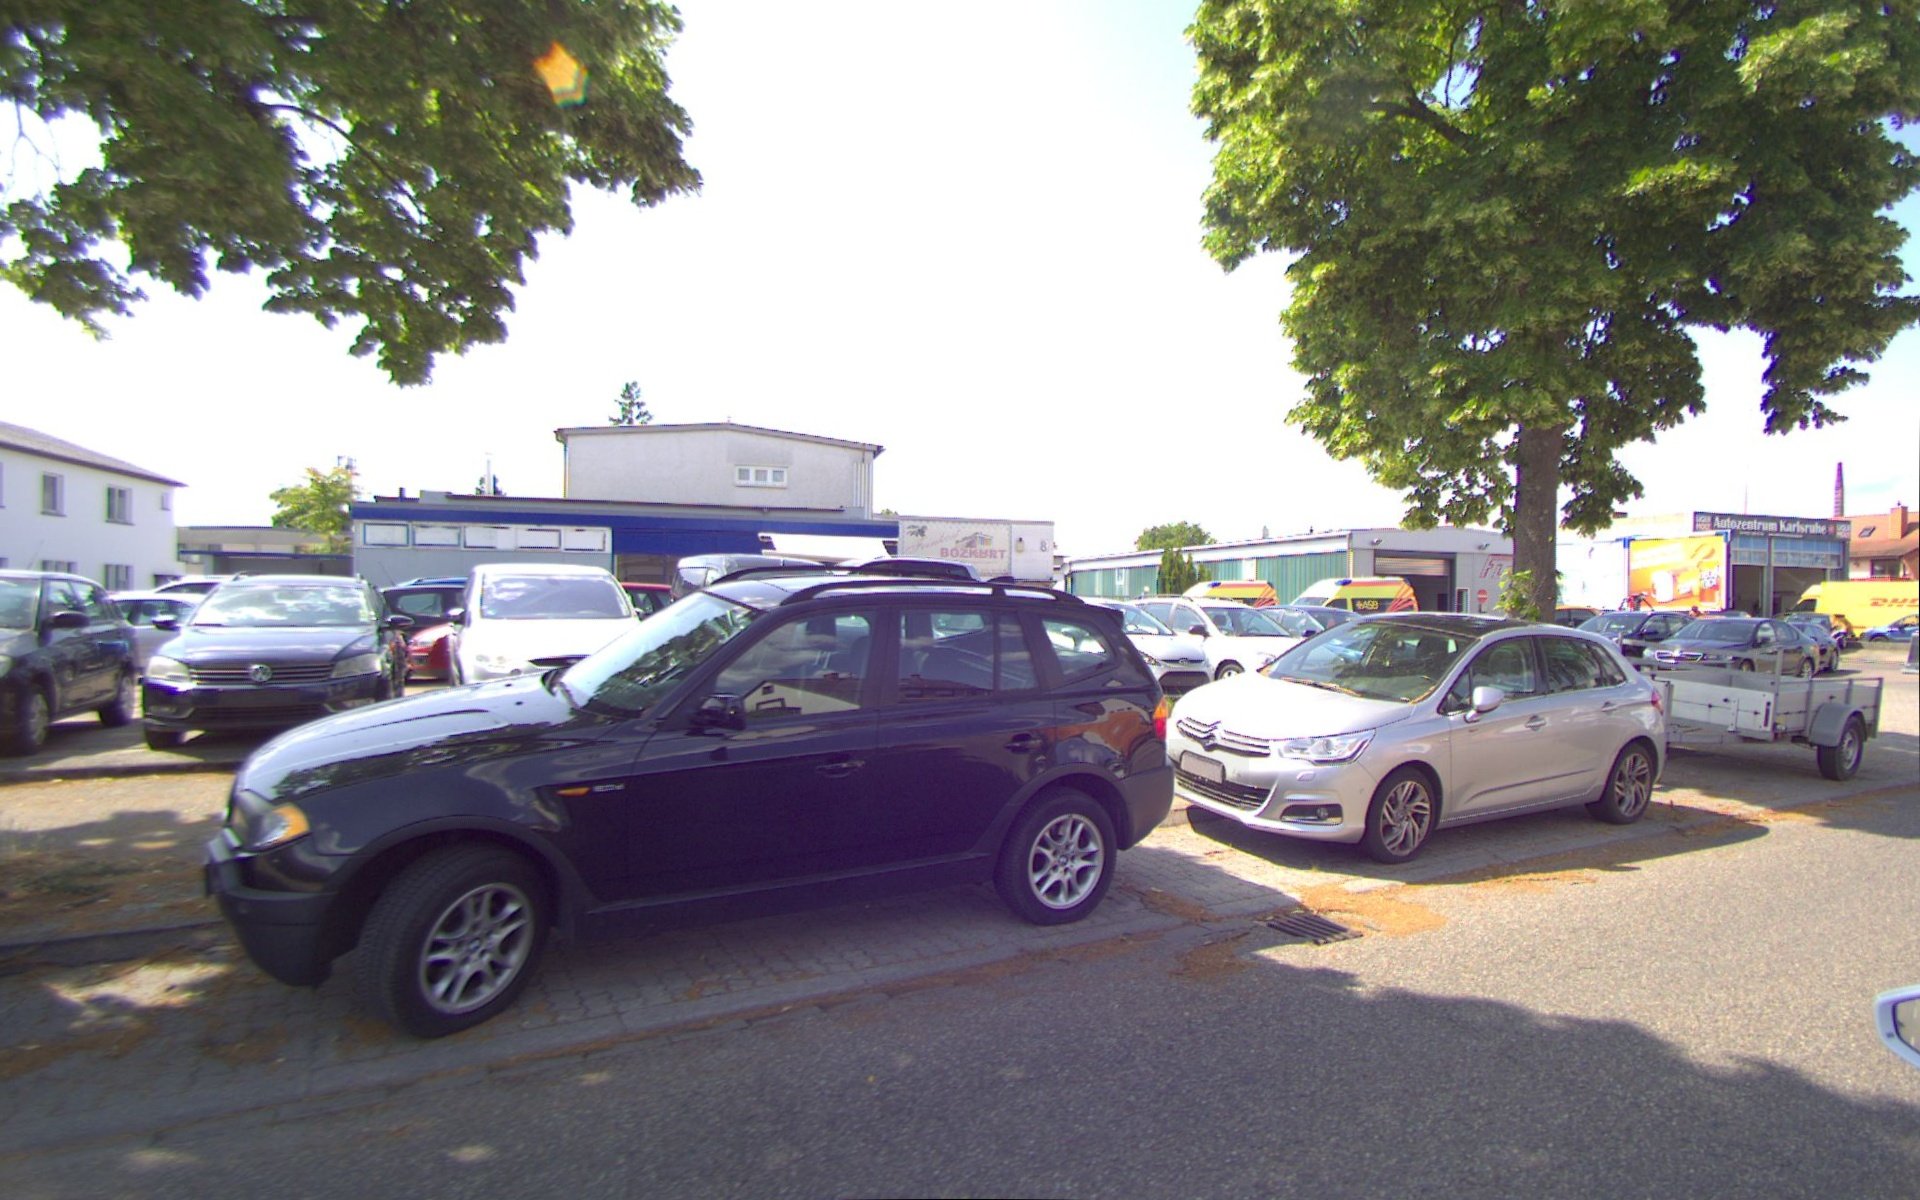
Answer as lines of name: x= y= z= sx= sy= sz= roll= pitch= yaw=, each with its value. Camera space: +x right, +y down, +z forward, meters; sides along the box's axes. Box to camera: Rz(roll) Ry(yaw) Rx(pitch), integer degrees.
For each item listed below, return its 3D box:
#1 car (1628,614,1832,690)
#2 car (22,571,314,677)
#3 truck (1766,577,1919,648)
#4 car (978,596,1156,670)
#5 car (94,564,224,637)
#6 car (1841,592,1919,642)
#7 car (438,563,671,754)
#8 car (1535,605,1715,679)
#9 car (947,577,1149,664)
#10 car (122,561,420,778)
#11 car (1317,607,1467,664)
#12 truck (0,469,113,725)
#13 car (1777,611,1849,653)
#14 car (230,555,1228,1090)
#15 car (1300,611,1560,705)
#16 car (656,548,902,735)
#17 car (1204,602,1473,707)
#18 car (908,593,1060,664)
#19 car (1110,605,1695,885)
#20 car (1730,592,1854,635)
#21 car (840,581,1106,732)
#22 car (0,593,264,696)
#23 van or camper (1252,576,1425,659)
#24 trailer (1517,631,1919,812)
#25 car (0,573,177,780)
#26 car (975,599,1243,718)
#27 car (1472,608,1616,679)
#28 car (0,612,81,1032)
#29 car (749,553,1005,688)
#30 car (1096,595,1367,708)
car: x=16.240 y=1.042 z=21.132 sx=4.528 sy=1.429 sz=1.746 roll=1 pitch=0 yaw=-29
car: x=-14.251 y=0.432 z=18.357 sx=3.868 sy=1.780 sz=1.638 roll=1 pitch=0 yaw=-24
truck: x=39.607 y=0.548 z=43.941 sx=2.487 sy=2.888 sz=6.596 roll=1 pitch=0 yaw=-16
car: x=2.573 y=0.782 z=24.225 sx=3.941 sy=1.659 sz=1.707 roll=1 pitch=0 yaw=-22
car: x=-25.399 y=0.011 z=32.025 sx=1.822 sy=2.129 sz=3.902 roll=2 pitch=0 yaw=-16
car: x=37.664 y=0.683 z=39.654 sx=1.827 sy=1.834 sz=3.923 roll=1 pitch=2 yaw=-19
car: x=-4.571 y=0.510 z=10.914 sx=1.805 sy=1.636 sz=4.274 roll=0 pitch=0 yaw=-30
car: x=15.452 y=0.933 z=23.313 sx=4.205 sy=1.554 sz=1.746 roll=1 pitch=0 yaw=-29
car: x=1.862 y=0.437 z=21.313 sx=3.941 sy=1.718 sz=1.707 roll=1 pitch=0 yaw=-22
car: x=-6.404 y=0.561 z=9.867 sx=1.803 sy=1.603 sz=4.509 roll=0 pitch=-1 yaw=-27
car: x=12.856 y=1.034 z=29.864 sx=4.105 sy=1.554 sz=1.749 roll=1 pitch=1 yaw=-24
truck: x=-11.603 y=-0.054 z=9.784 sx=2.683 sy=2.894 sz=9.232 roll=0 pitch=-1 yaw=-24
car: x=32.693 y=1.187 z=38.468 sx=3.978 sy=1.305 sz=1.654 roll=-4 pitch=3 yaw=-43
car: x=-0.871 y=0.715 z=5.051 sx=4.348 sy=1.723 sz=1.685 roll=1 pitch=2 yaw=-30
car: x=8.243 y=0.945 z=18.022 sx=1.802 sy=1.392 sz=4.015 roll=1 pitch=0 yaw=-24
car: x=-2.339 y=0.437 z=11.992 sx=1.803 sy=1.812 sz=4.130 roll=2 pitch=-1 yaw=-26
car: x=6.048 y=0.814 z=16.554 sx=1.803 sy=1.509 sz=4.013 roll=2 pitch=-1 yaw=-26
car: x=0.676 y=0.795 z=28.377 sx=3.941 sy=1.920 sz=1.707 roll=1 pitch=0 yaw=-22
car: x=3.384 y=0.868 z=7.579 sx=4.184 sy=1.549 sz=1.825 roll=1 pitch=2 yaw=-28
car: x=36.088 y=0.584 z=43.669 sx=1.705 sy=1.754 sz=3.840 roll=1 pitch=0 yaw=-18
car: x=-0.017 y=0.654 z=13.177 sx=1.803 sy=1.640 sz=4.130 roll=2 pitch=-1 yaw=-26
car: x=-13.487 y=0.674 z=15.953 sx=3.706 sy=1.499 sz=1.638 roll=1 pitch=0 yaw=-24
van or camper: x=12.186 y=0.522 z=32.324 sx=5.282 sy=2.508 sz=1.990 roll=0 pitch=0 yaw=-22
trailer: x=7.712 y=1.046 z=10.063 sx=4.457 sy=1.307 sz=1.751 roll=1 pitch=3 yaw=-32
car: x=-8.389 y=0.586 z=8.763 sx=1.656 sy=1.478 sz=4.182 roll=0 pitch=-1 yaw=-27
car: x=1.967 y=0.751 z=14.540 sx=1.803 sy=1.449 sz=4.130 roll=2 pitch=-1 yaw=-26
car: x=14.640 y=1.061 z=25.182 sx=3.252 sy=1.678 sz=1.440 roll=1 pitch=0 yaw=-22
car: x=-5.272 y=0.787 z=2.650 sx=4.103 sy=1.503 sz=1.694 roll=1 pitch=0 yaw=-26
car: x=-1.350 y=0.339 z=16.901 sx=3.956 sy=2.040 sz=1.701 roll=1 pitch=0 yaw=-33
car: x=4.036 y=0.719 z=15.649 sx=1.803 sy=1.509 sz=4.130 roll=2 pitch=-1 yaw=-26
